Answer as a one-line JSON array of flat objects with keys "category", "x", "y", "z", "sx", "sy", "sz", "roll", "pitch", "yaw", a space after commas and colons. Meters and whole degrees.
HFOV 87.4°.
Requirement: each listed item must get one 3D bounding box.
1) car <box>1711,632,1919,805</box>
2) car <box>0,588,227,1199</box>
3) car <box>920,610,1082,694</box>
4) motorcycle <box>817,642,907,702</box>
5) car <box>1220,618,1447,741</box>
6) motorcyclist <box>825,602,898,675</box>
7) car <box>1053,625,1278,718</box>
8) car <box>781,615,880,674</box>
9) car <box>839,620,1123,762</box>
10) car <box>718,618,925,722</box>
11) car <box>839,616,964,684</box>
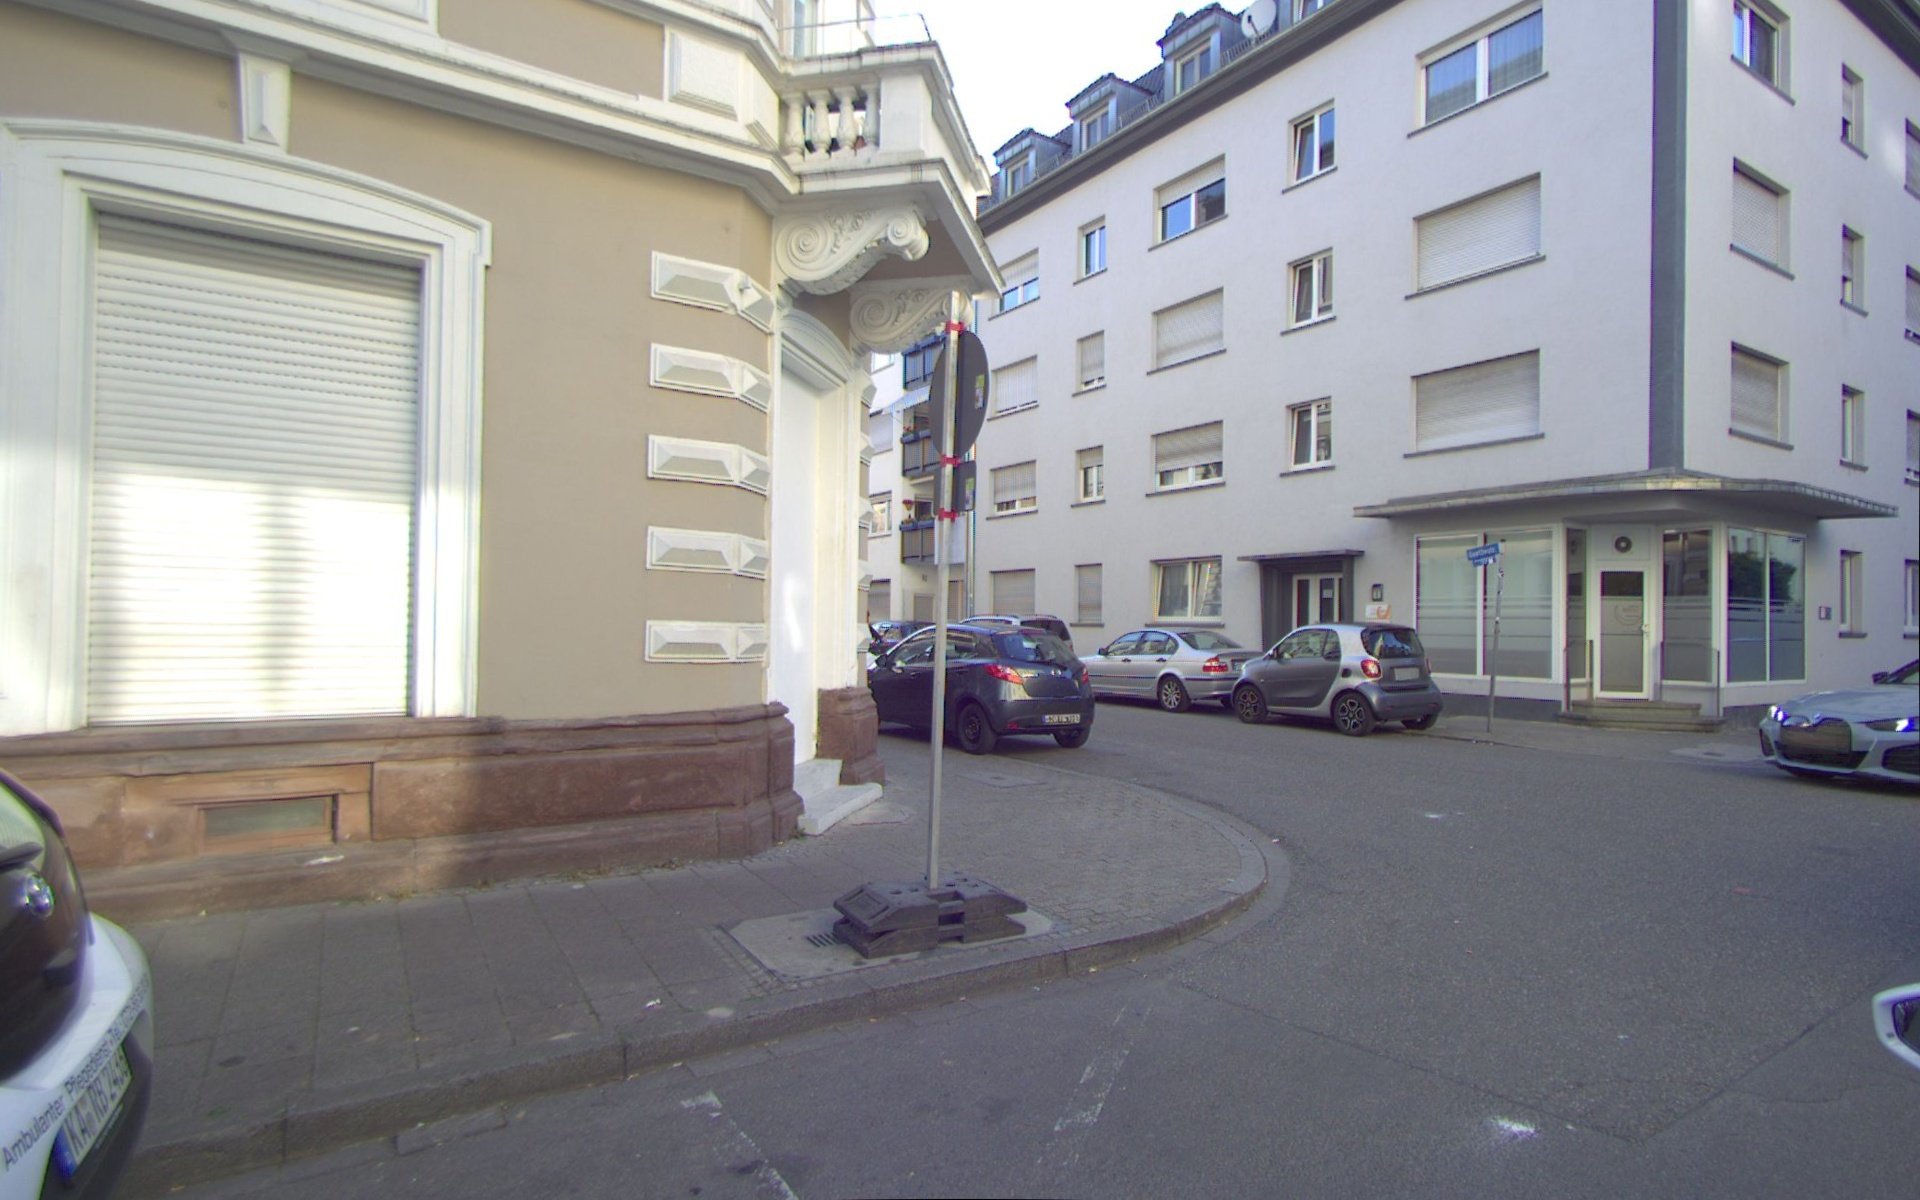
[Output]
[{"category": "car", "x": 10.393, "y": 1.088, "z": 10.014, "sx": 4.723, "sy": 1.470, "sz": 1.931, "roll": 1, "pitch": -1, "yaw": -9}, {"category": "car", "x": -3.435, "y": 0.767, "z": 0.964, "sx": 4.218, "sy": 1.527, "sz": 1.911, "roll": 1, "pitch": -3, "yaw": -31}, {"category": "car", "x": 0.813, "y": 1.099, "z": 22.497, "sx": 1.586, "sy": 1.626, "sz": 3.993, "roll": 1, "pitch": 0, "yaw": -33}, {"category": "motorcycle", "x": -1.898, "y": 1.338, "z": 19.158, "sx": 0.961, "sy": 1.042, "sz": 1.980, "roll": 1, "pitch": -1, "yaw": -30}, {"category": "car", "x": 5.469, "y": 1.097, "z": 14.941, "sx": 1.576, "sy": 1.560, "sz": 2.771, "roll": 1, "pitch": 0, "yaw": -31}, {"category": "motorcyclist", "x": -1.894, "y": 0.721, "z": 19.173, "sx": 0.961, "sy": 1.347, "sz": 1.218, "roll": 1, "pitch": -1, "yaw": -31}, {"category": "car", "x": 3.623, "y": 1.213, "z": 18.421, "sx": 1.586, "sy": 1.422, "sz": 4.179, "roll": 1, "pitch": -1, "yaw": -33}, {"category": "car", "x": -3.948, "y": 1.298, "z": 30.271, "sx": 1.586, "sy": 1.560, "sz": 3.470, "roll": 1, "pitch": 0, "yaw": -33}, {"category": "car", "x": 0.129, "y": 1.008, "z": 12.571, "sx": 1.713, "sy": 1.470, "sz": 3.639, "roll": 1, "pitch": -1, "yaw": -36}, {"category": "car", "x": -2.454, "y": 1.065, "z": 16.829, "sx": 1.884, "sy": 1.481, "sz": 4.286, "roll": 1, "pitch": -1, "yaw": -32}, {"category": "car", "x": -1.600, "y": 1.249, "z": 26.292, "sx": 1.587, "sy": 1.560, "sz": 3.685, "roll": 1, "pitch": 0, "yaw": -34}]
